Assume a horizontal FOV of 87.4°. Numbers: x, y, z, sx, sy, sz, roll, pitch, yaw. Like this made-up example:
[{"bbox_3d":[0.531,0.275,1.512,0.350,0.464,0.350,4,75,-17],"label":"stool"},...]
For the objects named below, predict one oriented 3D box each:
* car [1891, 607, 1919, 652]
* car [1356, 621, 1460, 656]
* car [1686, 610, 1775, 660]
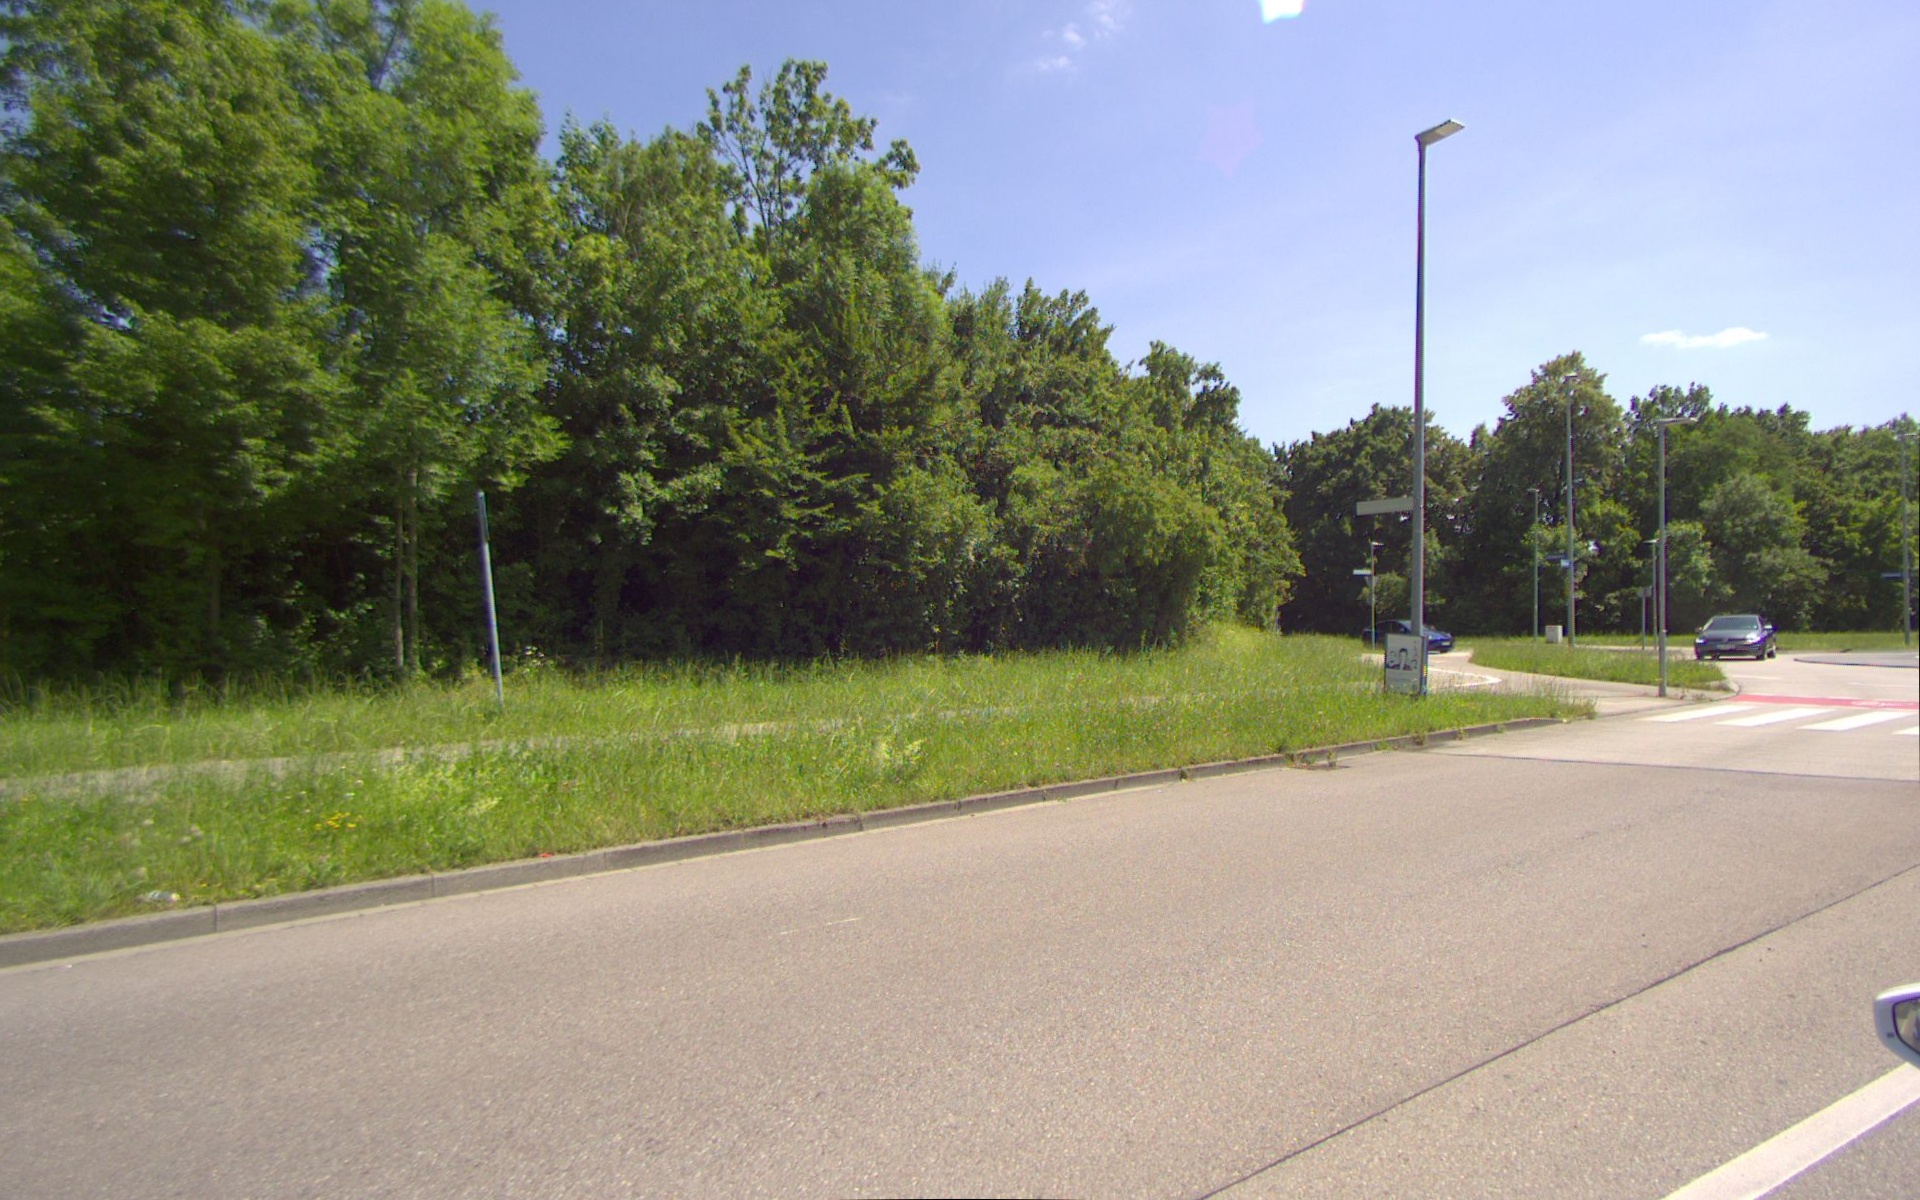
[{"bbox_3d":[37.905,1.044,37.413,4.235,1.617,2.001,-2,-1,12],"label":"car"},{"bbox_3d":[21.374,1.814,48.138,1.931,1.514,4.538,1,-1,-22],"label":"car"},{"bbox_3d":[25.134,1.112,32.701,1.972,1.498,4.266,-3,-2,42],"label":"car"}]
